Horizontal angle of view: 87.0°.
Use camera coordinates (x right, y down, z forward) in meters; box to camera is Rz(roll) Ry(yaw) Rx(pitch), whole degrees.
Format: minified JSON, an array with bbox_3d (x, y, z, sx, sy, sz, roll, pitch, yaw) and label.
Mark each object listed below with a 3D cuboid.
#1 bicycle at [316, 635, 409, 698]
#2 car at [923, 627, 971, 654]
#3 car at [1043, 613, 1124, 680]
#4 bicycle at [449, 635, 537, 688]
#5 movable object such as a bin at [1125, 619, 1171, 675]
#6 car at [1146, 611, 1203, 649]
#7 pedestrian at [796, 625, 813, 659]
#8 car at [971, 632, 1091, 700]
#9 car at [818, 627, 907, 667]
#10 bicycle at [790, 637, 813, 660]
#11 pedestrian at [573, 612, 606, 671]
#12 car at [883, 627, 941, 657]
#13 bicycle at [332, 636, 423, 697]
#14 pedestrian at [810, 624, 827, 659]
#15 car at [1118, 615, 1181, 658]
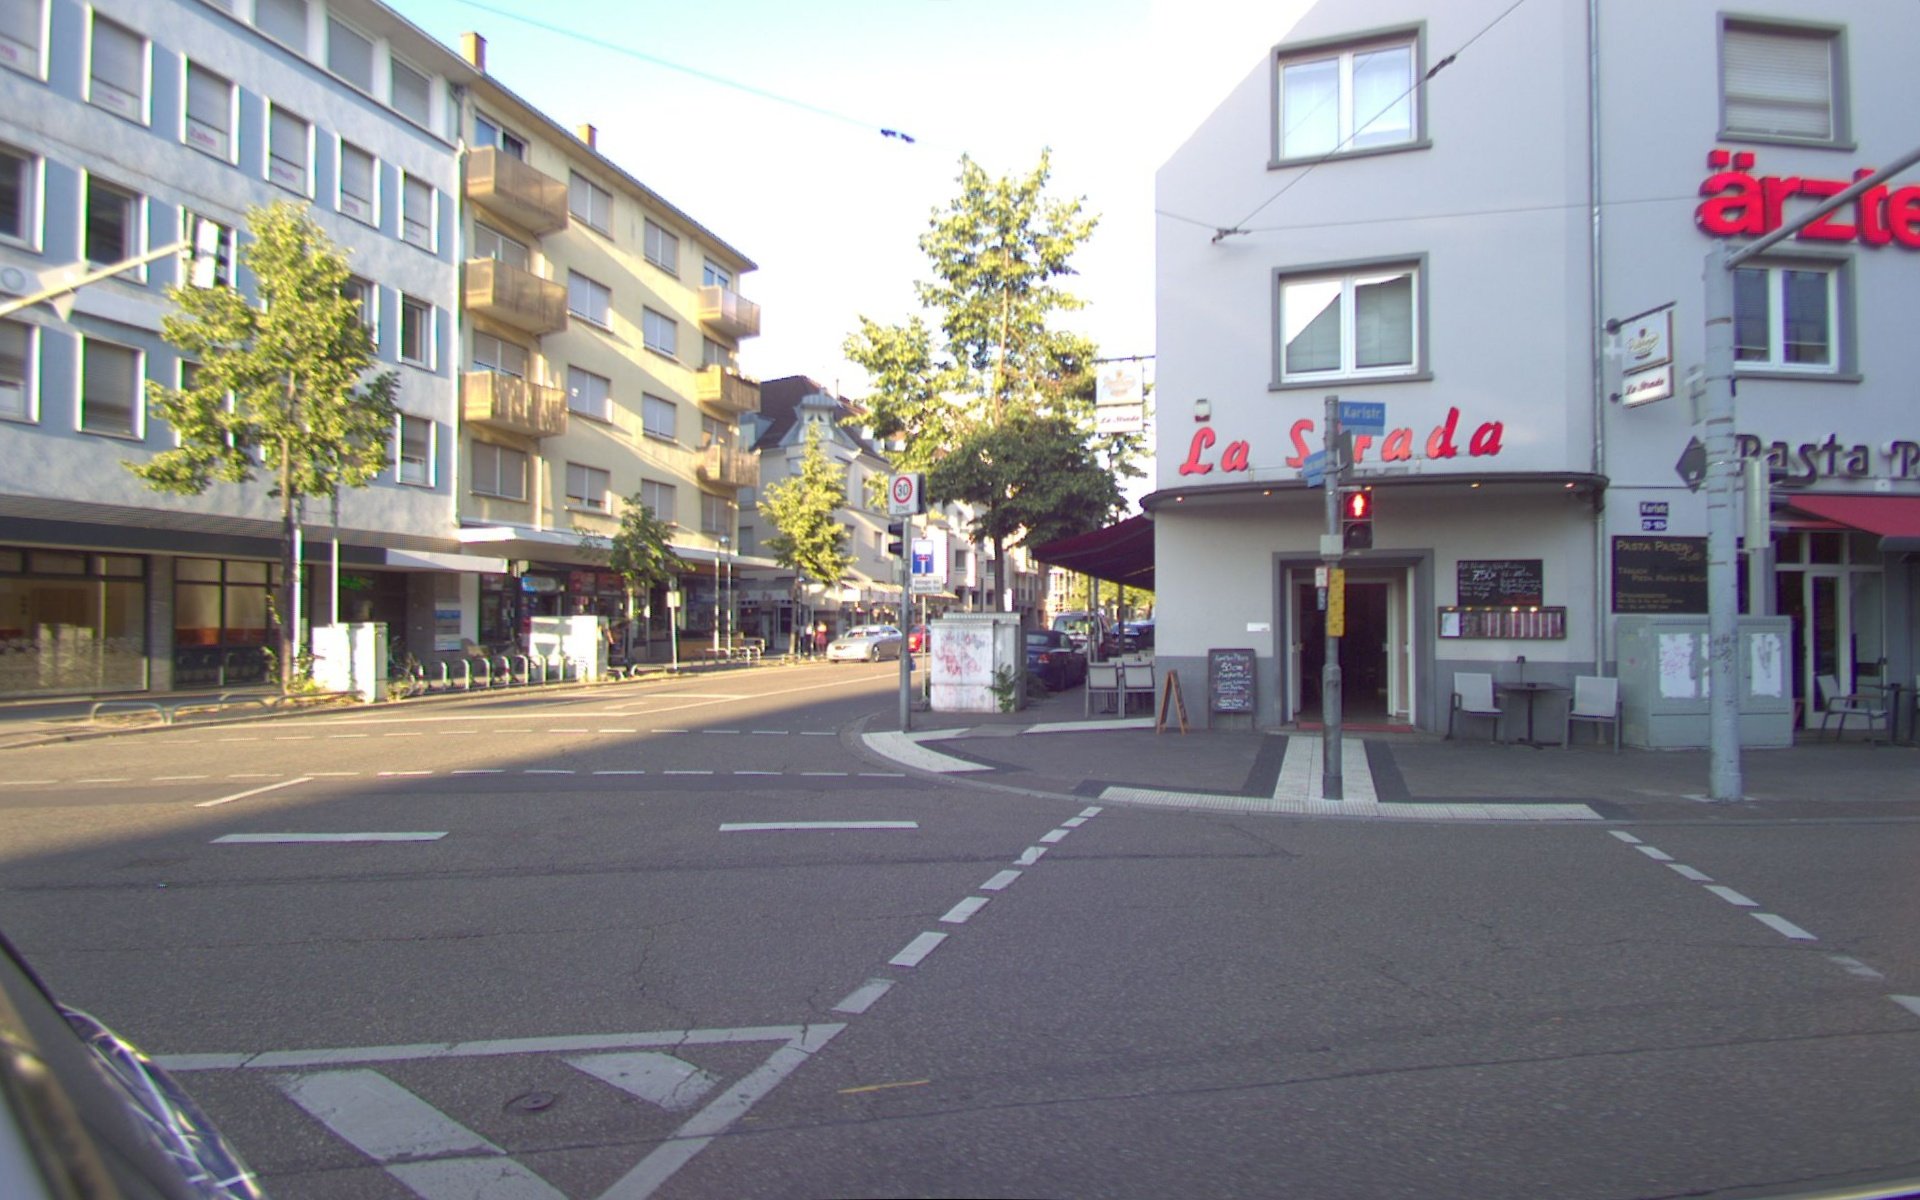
[{"bbox_3d":[-11.864,1.310,20.089,1.904,1.213,0.467,-1,-2,20],"label":"bicycle"},{"bbox_3d":[-0.693,2.246,56.527,1.713,1.432,3.728,0,-2,16],"label":"car"},{"bbox_3d":[3.698,1.322,29.692,1.902,1.801,4.129,0,-2,14],"label":"car"},{"bbox_3d":[-10.928,1.433,23.701,1.896,1.213,0.469,0,-2,7],"label":"bicycle"},{"bbox_3d":[6.104,1.509,32.743,1.273,1.686,1.433,-4,-3,15],"label":"movable object such as a bin"},{"bbox_3d":[9.471,1.318,44.445,1.983,1.522,5.083,0,-2,17],"label":"car"},{"bbox_3d":[-7.002,1.880,45.593,0.538,1.542,0.646,-1,-2,22],"label":"pedestrian"},{"bbox_3d":[1.758,1.470,23.630,1.904,1.397,4.358,0,-2,16],"label":"car"},{"bbox_3d":[-3.607,1.746,38.138,1.790,1.388,4.527,-2,-3,16],"label":"car"},{"bbox_3d":[-7.504,2.276,47.927,0.388,1.058,1.836,-1,-2,14],"label":"bicycle"},{"bbox_3d":[-11.611,1.306,31.708,0.704,1.821,0.646,-3,-3,18],"label":"pedestrian"},{"bbox_3d":[-2.356,2.098,50.809,1.713,1.432,4.010,0,-2,16],"label":"car"},{"bbox_3d":[-11.861,1.336,20.605,1.904,1.213,0.467,-1,-2,20],"label":"bicycle"},{"bbox_3d":[-6.327,1.852,45.262,0.538,1.542,0.550,-1,-3,23],"label":"pedestrian"},{"bbox_3d":[7.259,1.366,38.400,1.904,1.522,4.613,0,-2,16],"label":"car"}]
